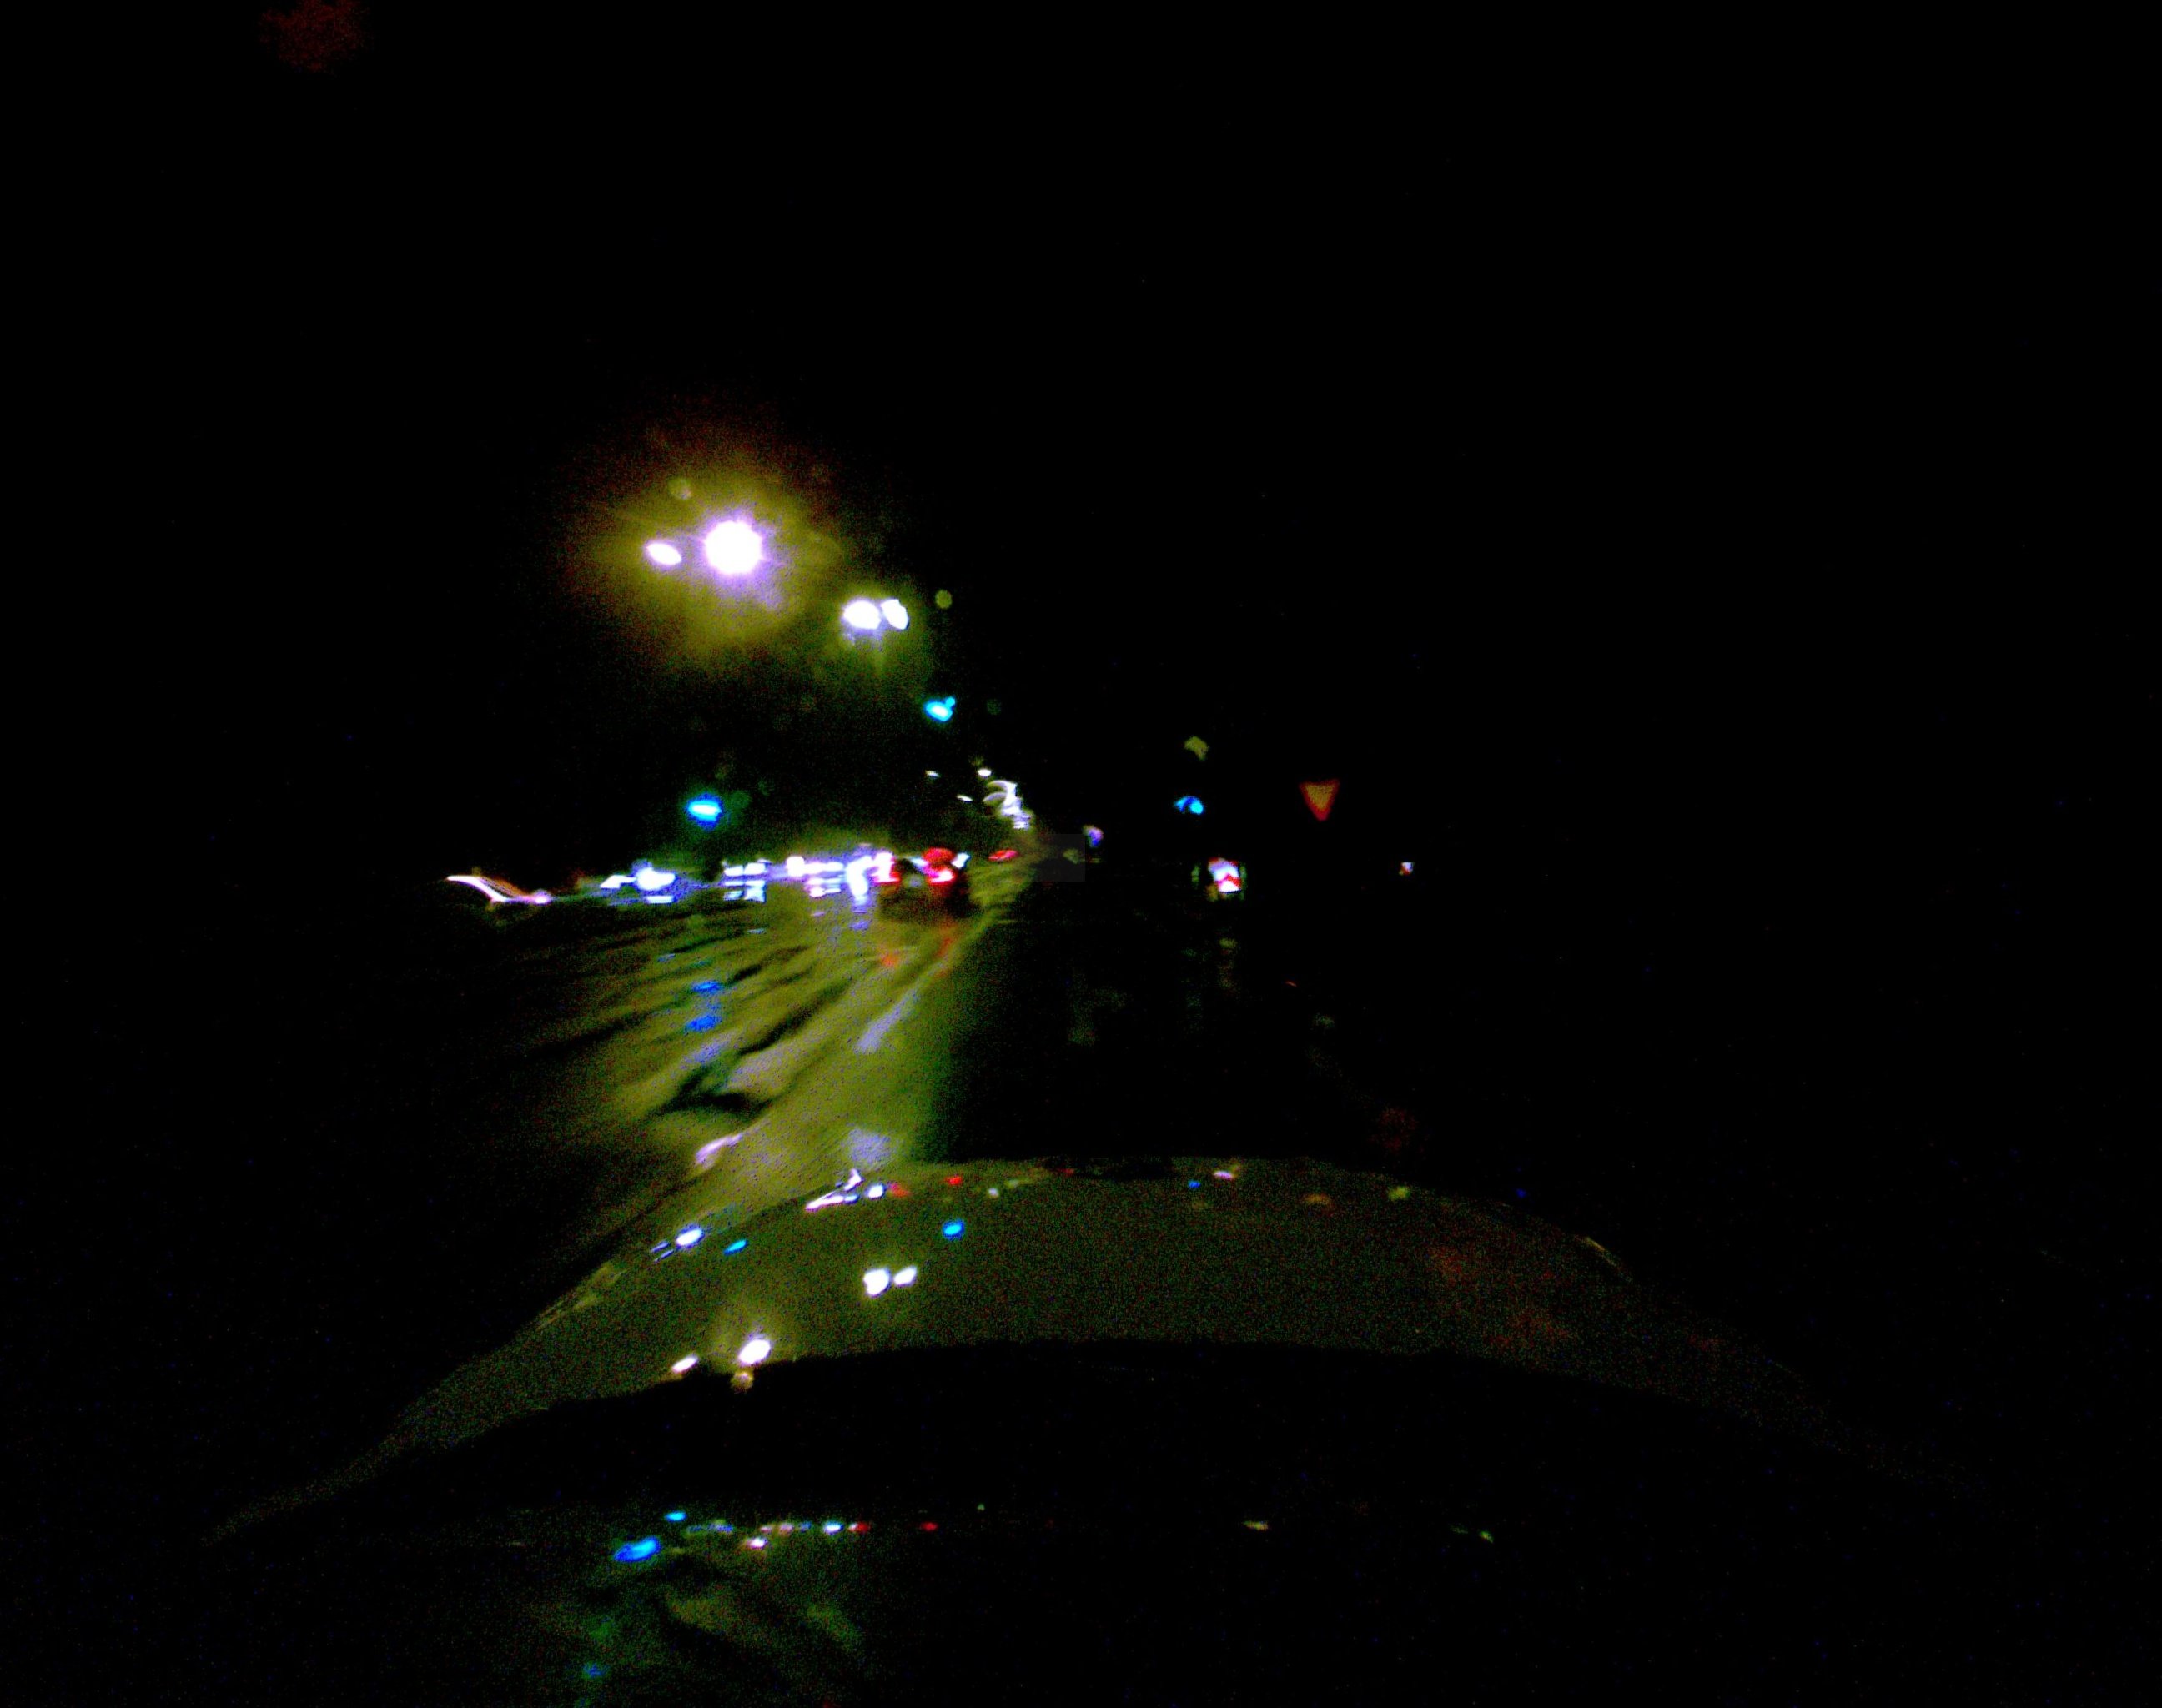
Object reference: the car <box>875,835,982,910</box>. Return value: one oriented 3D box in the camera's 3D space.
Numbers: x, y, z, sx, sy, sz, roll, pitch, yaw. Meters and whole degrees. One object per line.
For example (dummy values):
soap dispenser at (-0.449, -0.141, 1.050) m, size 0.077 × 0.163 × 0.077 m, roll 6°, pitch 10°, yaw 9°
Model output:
car at (-3.682, 0.372, 20.421) m, size 1.791 × 1.451 × 4.270 m, roll 4°, pitch 3°, yaw 0°

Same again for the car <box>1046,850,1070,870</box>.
car at (-2.070, 0.601, 74.223) m, size 1.903 × 1.602 × 4.001 m, roll 3°, pitch -2°, yaw 2°

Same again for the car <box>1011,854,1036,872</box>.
car at (-5.800, 0.893, 82.618) m, size 2.171 × 1.602 × 3.997 m, roll 3°, pitch -2°, yaw -1°

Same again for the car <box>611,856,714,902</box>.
car at (-16.168, 0.912, 31.735) m, size 1.775 × 1.608 × 4.244 m, roll 0°, pitch 0°, yaw 1°

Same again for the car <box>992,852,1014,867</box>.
car at (-9.543, 0.721, 99.857) m, size 2.169 × 1.602 × 4.001 m, roll 3°, pitch -2°, yaw 2°

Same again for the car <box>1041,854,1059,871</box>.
car at (-3.942, 1.086, 104.214) m, size 1.988 × 1.839 × 3.996 m, roll 4°, pitch -3°, yaw -1°

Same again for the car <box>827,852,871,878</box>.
car at (-13.591, 0.621, 47.877) m, size 1.585 × 1.427 × 3.349 m, roll -1°, pitch 1°, yaw -1°

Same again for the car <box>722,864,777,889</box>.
car at (-20.494, 1.380, 50.526) m, size 1.844 × 1.456 × 4.091 m, roll 1°, pitch -2°, yaw -3°

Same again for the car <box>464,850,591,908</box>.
car at (-19.617, 0.825, 29.113) m, size 1.757 × 1.892 × 4.202 m, roll -1°, pitch 0°, yaw -2°

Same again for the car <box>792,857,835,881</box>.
car at (-17.580, 0.967, 53.674) m, size 1.660 × 1.448 × 3.817 m, roll -1°, pitch 0°, yaw -2°
